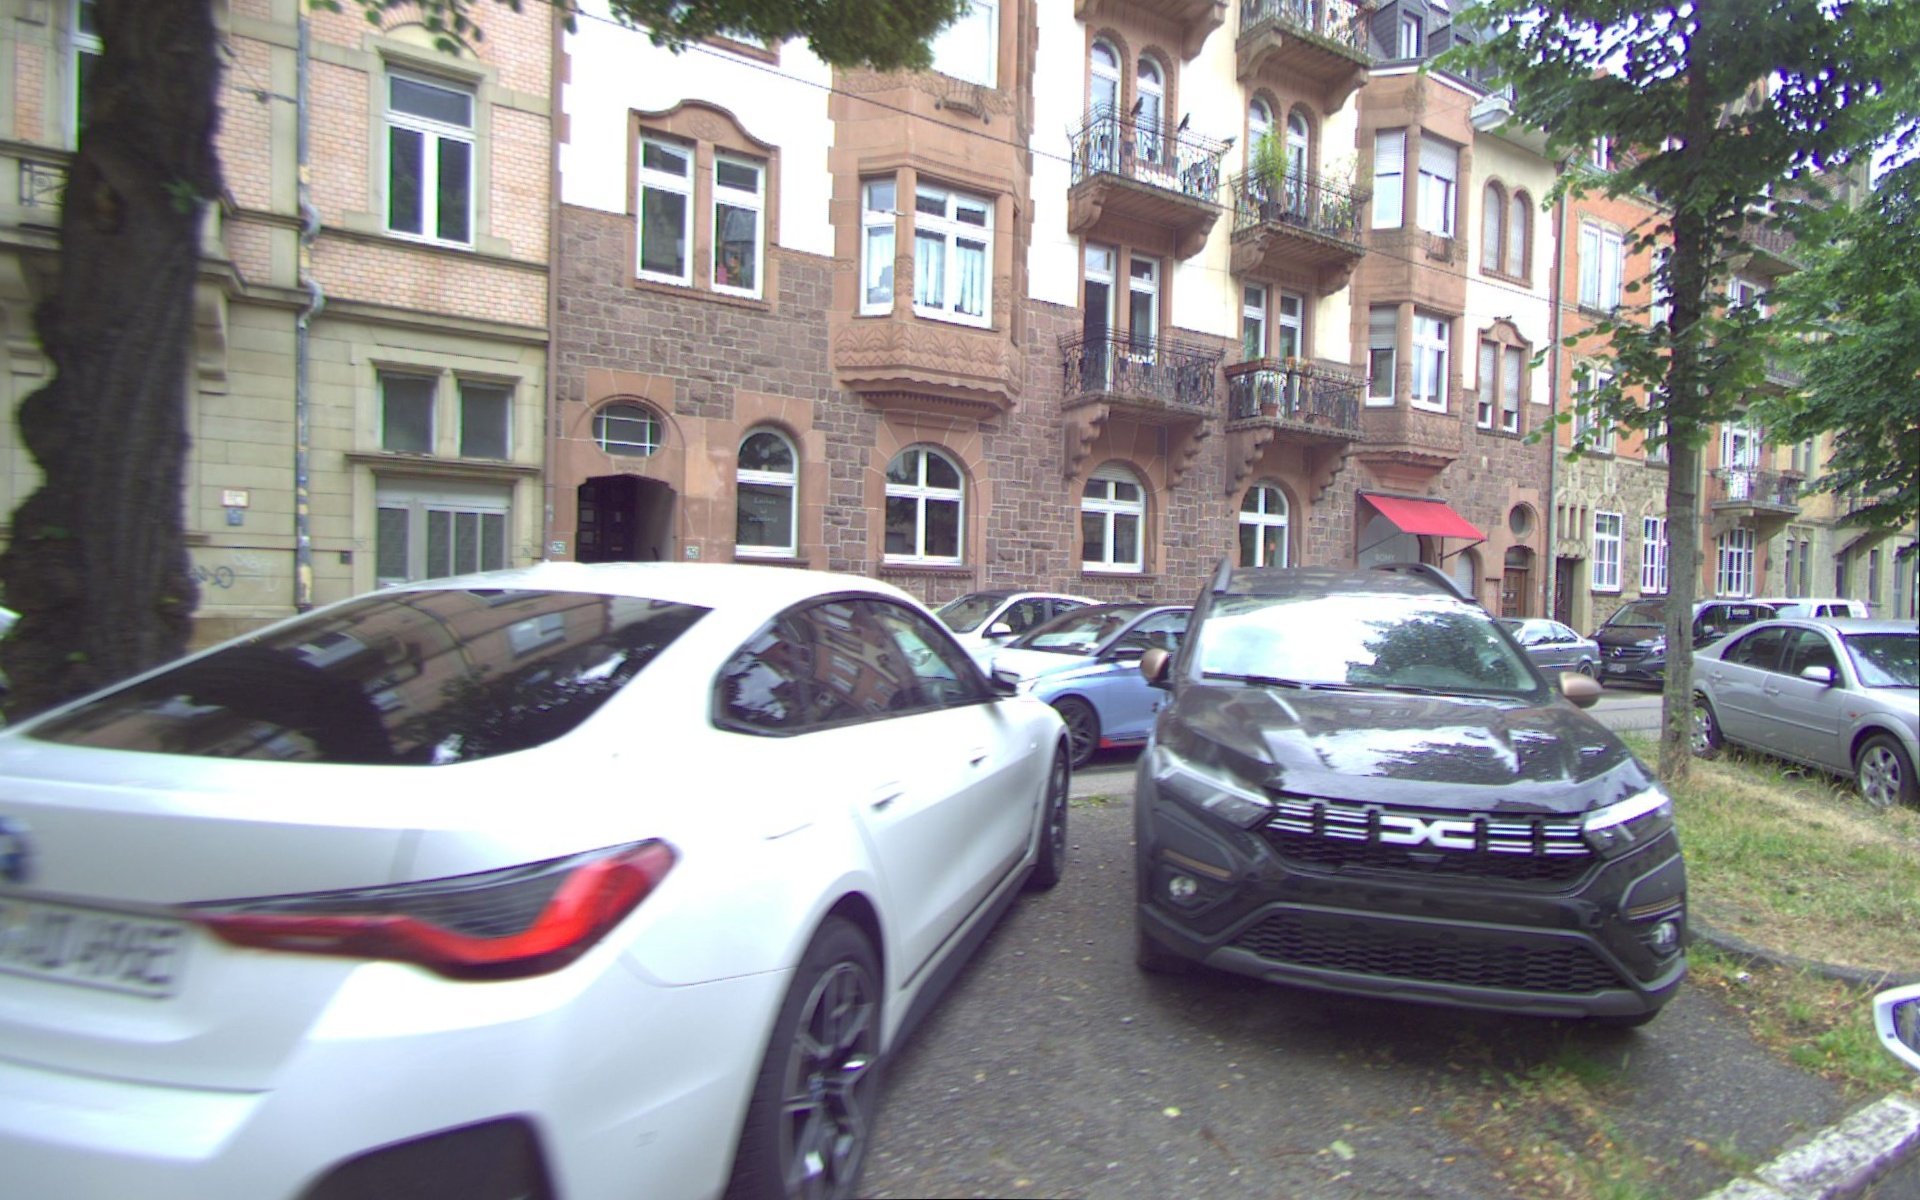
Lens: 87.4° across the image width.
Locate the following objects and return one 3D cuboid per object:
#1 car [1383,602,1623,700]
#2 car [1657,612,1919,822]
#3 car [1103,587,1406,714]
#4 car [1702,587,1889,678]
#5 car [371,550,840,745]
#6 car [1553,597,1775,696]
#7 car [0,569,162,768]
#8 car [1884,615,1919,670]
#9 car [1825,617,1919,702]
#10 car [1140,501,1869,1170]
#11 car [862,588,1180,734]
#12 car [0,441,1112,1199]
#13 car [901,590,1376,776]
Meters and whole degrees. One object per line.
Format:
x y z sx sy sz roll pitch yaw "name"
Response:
9.876 0.886 18.175 4.501 1.562 1.732 2 0 -31 "car"
7.879 0.857 8.409 1.722 1.386 4.670 2 1 13 "car"
4.468 0.711 15.048 4.501 1.648 1.732 2 0 -31 "car"
20.209 0.766 24.237 5.035 1.978 1.872 2 0 -31 "car"
-3.560 0.434 10.342 4.270 1.650 1.760 2 0 -31 "car"
14.551 0.919 20.672 5.058 1.805 1.804 2 0 -31 "car"
-8.729 0.455 7.414 4.181 1.457 1.796 2 0 -31 "car"
28.758 1.254 29.490 2.917 1.571 1.626 1 1 -31 "car"
18.639 1.142 19.762 2.859 1.535 1.596 2 0 -31 "car"
1.950 0.574 4.908 1.730 1.655 4.535 2 0 14 "car"
0.802 0.701 12.641 3.679 1.580 1.653 2 0 -31 "car"
-0.743 0.583 3.404 1.995 1.510 4.544 2 0 14 "car"
1.872 0.716 10.014 4.599 1.472 1.796 2 0 -31 "car"
